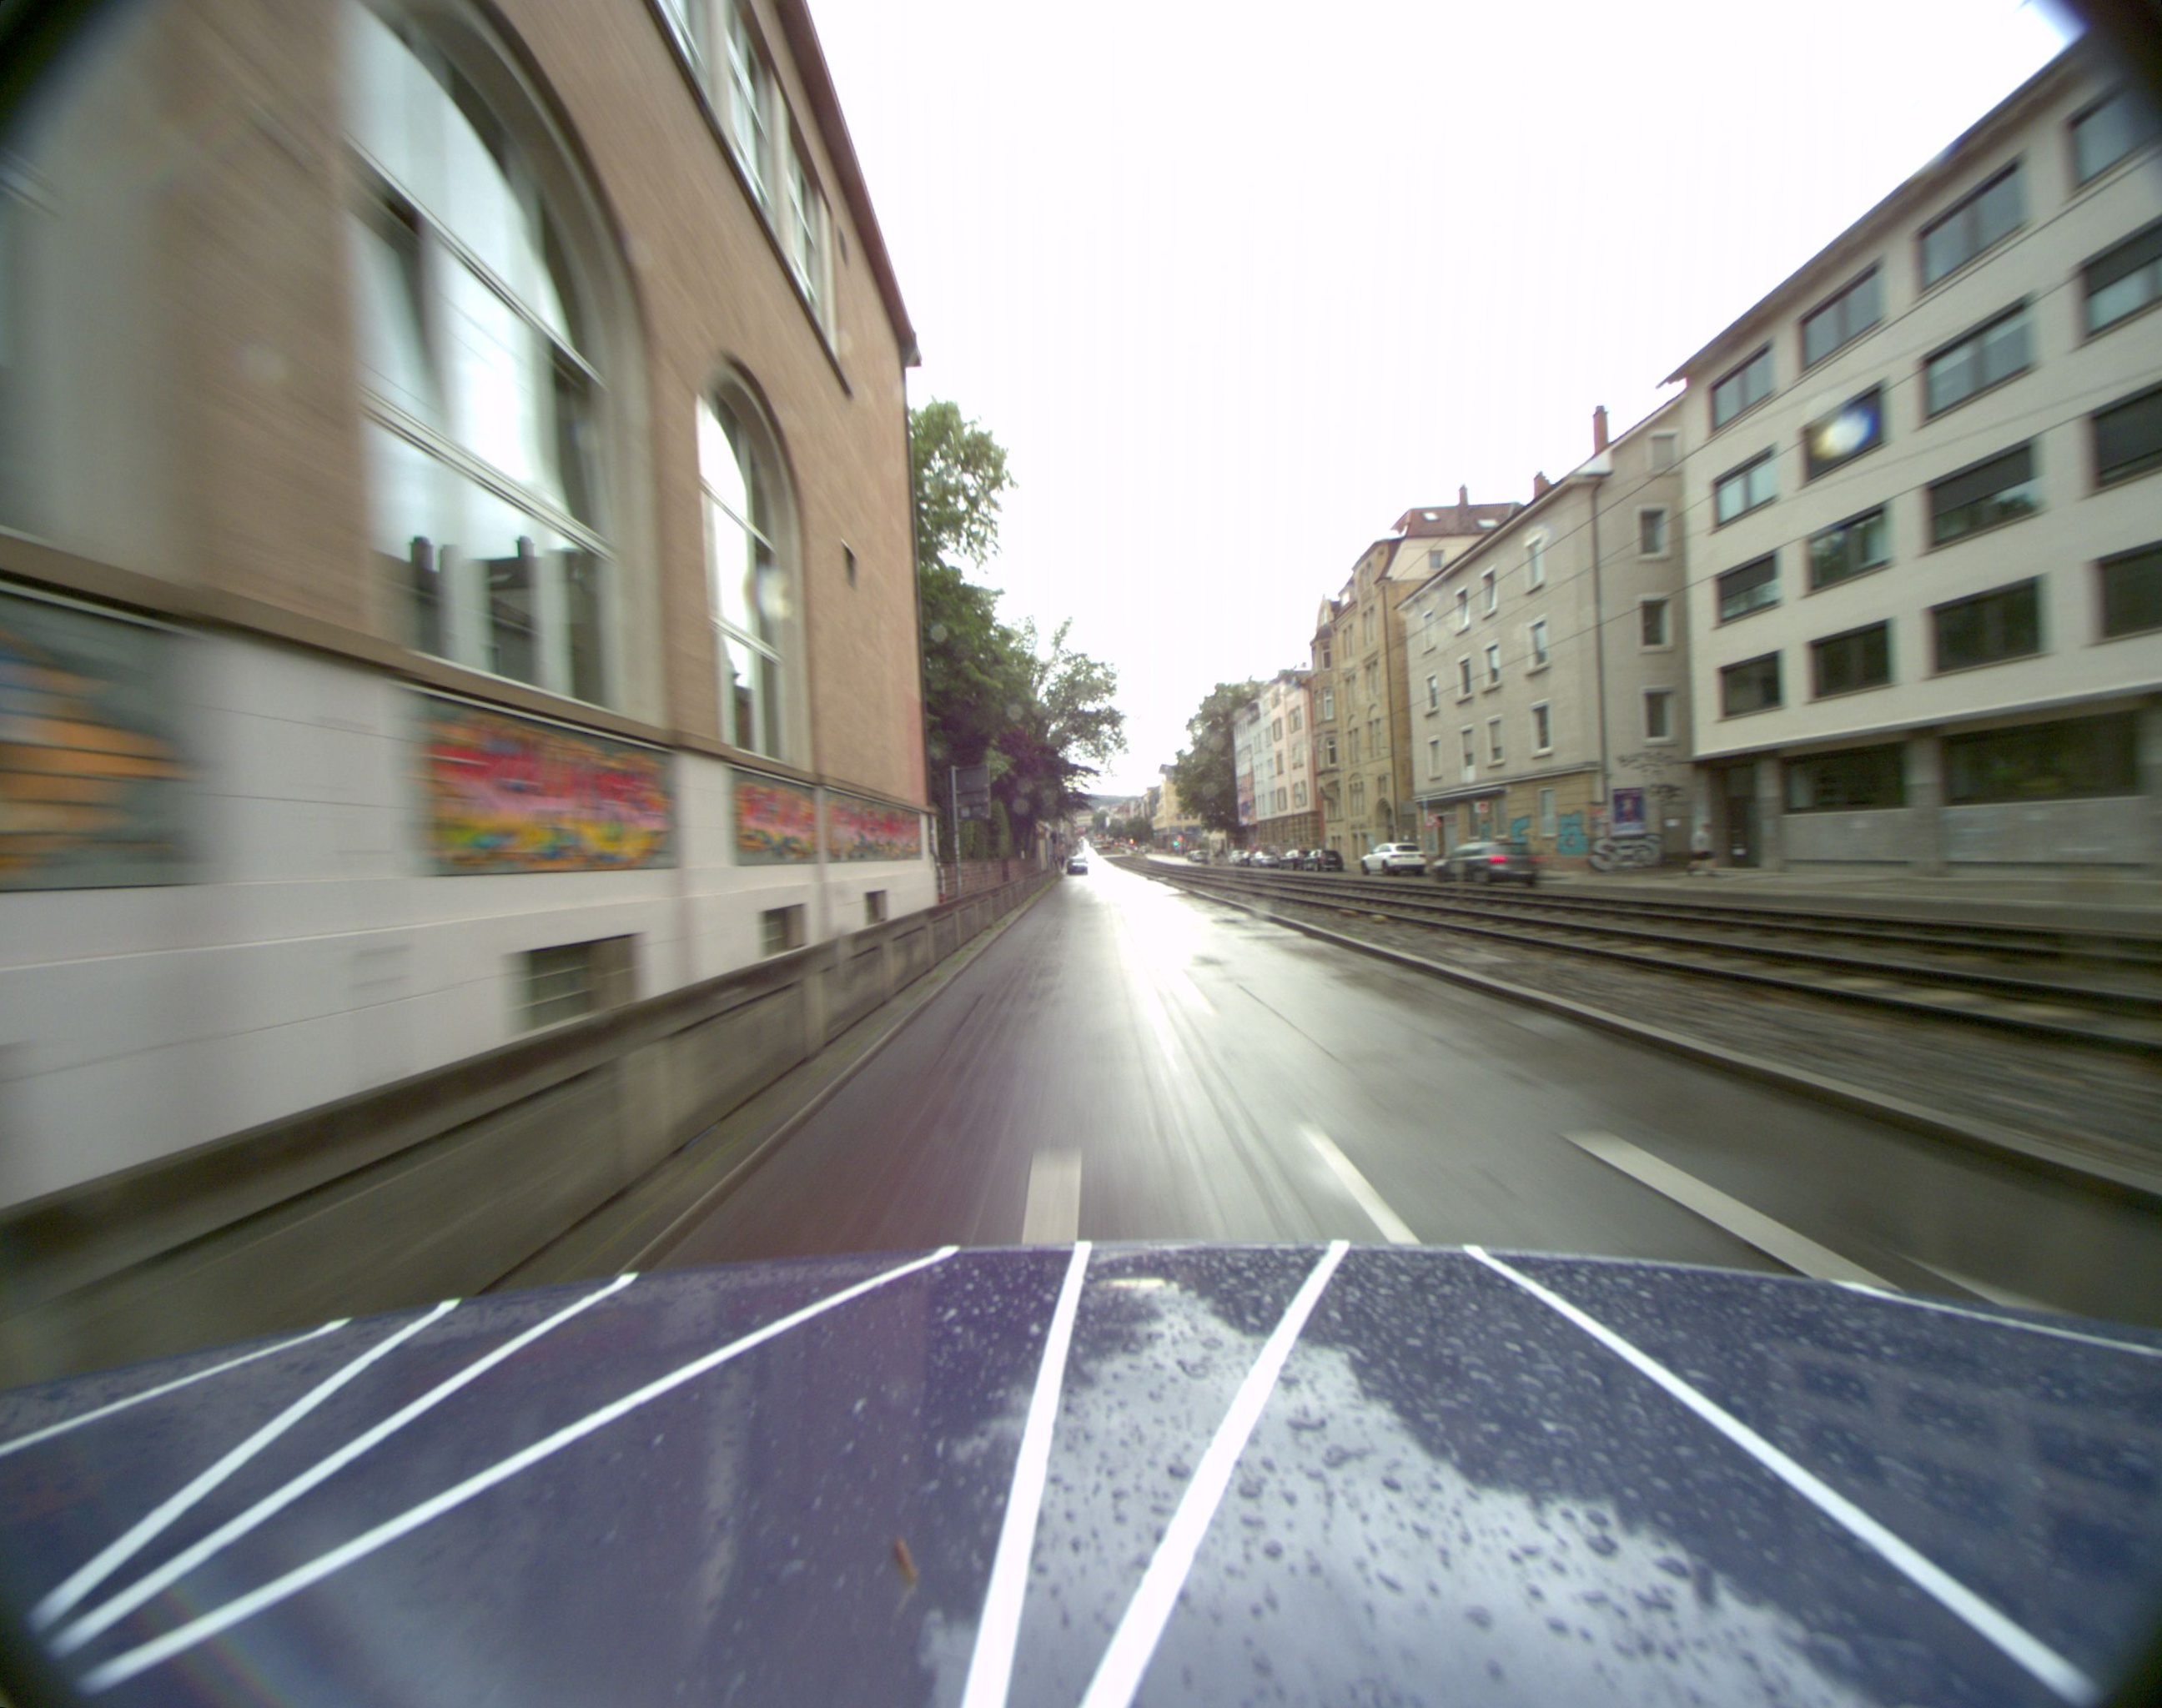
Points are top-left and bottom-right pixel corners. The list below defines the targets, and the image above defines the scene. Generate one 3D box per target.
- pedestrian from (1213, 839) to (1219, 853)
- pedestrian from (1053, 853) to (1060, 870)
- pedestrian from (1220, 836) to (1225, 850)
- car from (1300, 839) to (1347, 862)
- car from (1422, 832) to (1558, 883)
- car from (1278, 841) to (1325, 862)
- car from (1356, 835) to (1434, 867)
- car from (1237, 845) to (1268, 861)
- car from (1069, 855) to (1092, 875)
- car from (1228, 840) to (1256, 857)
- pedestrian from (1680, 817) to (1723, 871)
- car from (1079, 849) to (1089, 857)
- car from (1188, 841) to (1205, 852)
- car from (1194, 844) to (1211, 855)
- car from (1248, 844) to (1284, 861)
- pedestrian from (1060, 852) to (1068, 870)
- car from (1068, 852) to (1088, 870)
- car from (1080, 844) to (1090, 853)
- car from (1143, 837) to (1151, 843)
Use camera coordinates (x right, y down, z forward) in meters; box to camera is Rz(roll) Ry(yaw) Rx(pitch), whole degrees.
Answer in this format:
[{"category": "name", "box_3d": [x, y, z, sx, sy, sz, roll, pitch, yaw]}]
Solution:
[{"category": "pedestrian", "box_3d": [18.731, -1.102, 105.368, 0.809, 1.858, 0.536, -2, 0, 4]}, {"category": "pedestrian", "box_3d": [-2.757, 0.834, 85.345, 0.765, 1.902, 0.588, -3, 1, -1]}, {"category": "pedestrian", "box_3d": [19.586, -1.517, 105.215, 0.651, 1.858, 0.536, -2, 0, 4]}, {"category": "car", "box_3d": [16.019, -0.238, 50.392, 1.741, 1.447, 4.170, 0, 0, 0]}, {"category": "car", "box_3d": [13.164, 0.099, 24.810, 1.945, 1.527, 4.347, 0, 0, -3]}, {"category": "car", "box_3d": [16.056, -0.160, 55.668, 1.998, 1.447, 5.021, 0, 0, 0]}, {"category": "car", "box_3d": [15.946, -0.174, 38.864, 1.998, 1.527, 4.748, 0, 0, 0]}, {"category": "car", "box_3d": [16.192, -0.089, 71.829, 1.843, 1.389, 4.265, -1, 0, -1]}, {"category": "car", "box_3d": [-0.031, 0.928, 64.318, 1.788, 1.521, 4.244, -3, 0, 1]}, {"category": "car", "box_3d": [16.332, -0.533, 77.369, 1.843, 1.596, 4.227, -1, 0, -1]}, {"category": "pedestrian", "box_3d": [18.988, -0.302, 23.252, 0.548, 1.603, 0.798, -5, 1, 3]}, {"category": "car", "box_3d": [0.719, -0.183, 165.618, 1.998, 1.674, 4.124, -3, 0, 1]}, {"category": "car", "box_3d": [16.791, -1.018, 110.802, 1.842, 1.532, 4.228, -1, 0, 1]}, {"category": "car", "box_3d": [16.920, -0.639, 106.144, 1.842, 1.532, 4.228, -1, 0, 1]}, {"category": "car", "box_3d": [16.123, -0.115, 66.520, 1.998, 1.389, 5.022, 0, 0, 1]}, {"category": "pedestrian", "box_3d": [-1.914, 0.786, 85.357, 0.716, 1.879, 0.599, -3, 1, -1]}, {"category": "car", "box_3d": [-0.293, 0.655, 70.935, 1.759, 1.521, 4.333, -3, 0, -1]}, {"category": "car", "box_3d": [0.826, -1.074, 152.257, 1.998, 1.674, 4.124, -3, 0, 1]}, {"category": "car", "box_3d": [18.932, -3.991, 217.153, 1.998, 1.674, 4.000, -3, 0, 1]}]
